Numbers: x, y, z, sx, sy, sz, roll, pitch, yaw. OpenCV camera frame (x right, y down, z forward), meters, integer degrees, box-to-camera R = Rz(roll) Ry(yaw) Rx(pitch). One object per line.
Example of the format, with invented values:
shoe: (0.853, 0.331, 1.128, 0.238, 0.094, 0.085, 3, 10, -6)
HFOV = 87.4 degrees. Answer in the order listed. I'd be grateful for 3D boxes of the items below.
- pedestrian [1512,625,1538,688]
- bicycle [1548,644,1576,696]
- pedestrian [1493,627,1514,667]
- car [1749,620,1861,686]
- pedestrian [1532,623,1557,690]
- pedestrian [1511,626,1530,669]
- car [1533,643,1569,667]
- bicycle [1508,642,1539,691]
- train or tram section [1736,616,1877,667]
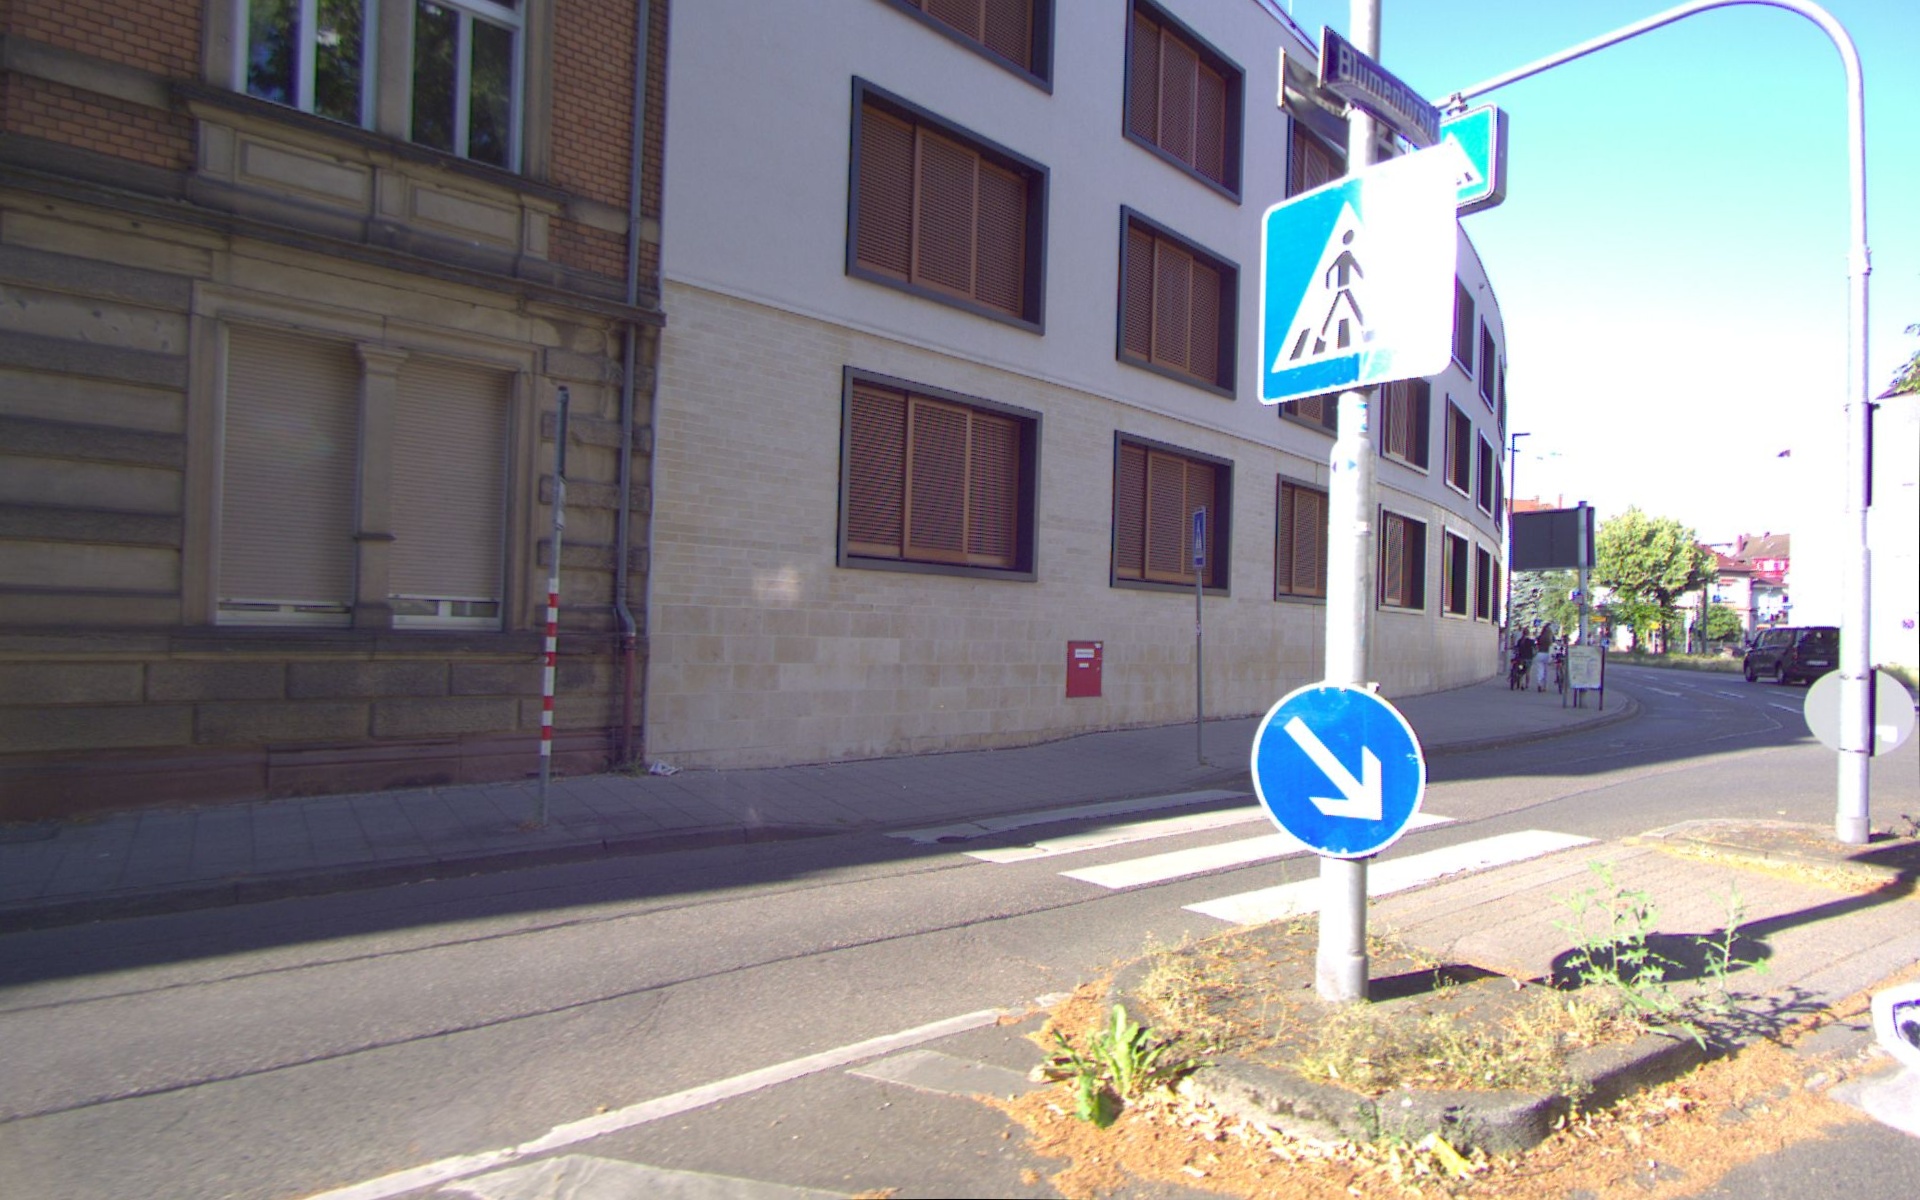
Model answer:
pedestrian: (14.601, 1.442, 25.951, 0.468, 1.585, 0.600, 2, 0, 36)
bicycle: (15.054, 1.723, 25.101, 0.434, 1.194, 1.960, 2, 0, 35)
pedestrian: (24.231, 2.111, 44.806, 0.691, 1.736, 0.842, 2, -1, 24)
car: (28.554, 1.747, 34.093, 1.963, 2.040, 3.996, 2, -1, 26)
pedestrian: (14.802, 1.425, 25.434, 0.468, 1.669, 0.600, 0, -2, 36)
pedestrian: (24.837, 2.107, 44.537, 0.596, 1.873, 0.992, 2, -1, 24)
car: (41.092, 3.788, 69.887, 1.929, 1.525, 3.681, 0, -2, 27)
bicycle: (14.451, 1.676, 25.751, 0.371, 1.182, 1.830, 3, 1, 38)
train or tram section: (65.716, 3.202, 78.029, 9.742, 3.602, 2.780, 2, -1, -10)
